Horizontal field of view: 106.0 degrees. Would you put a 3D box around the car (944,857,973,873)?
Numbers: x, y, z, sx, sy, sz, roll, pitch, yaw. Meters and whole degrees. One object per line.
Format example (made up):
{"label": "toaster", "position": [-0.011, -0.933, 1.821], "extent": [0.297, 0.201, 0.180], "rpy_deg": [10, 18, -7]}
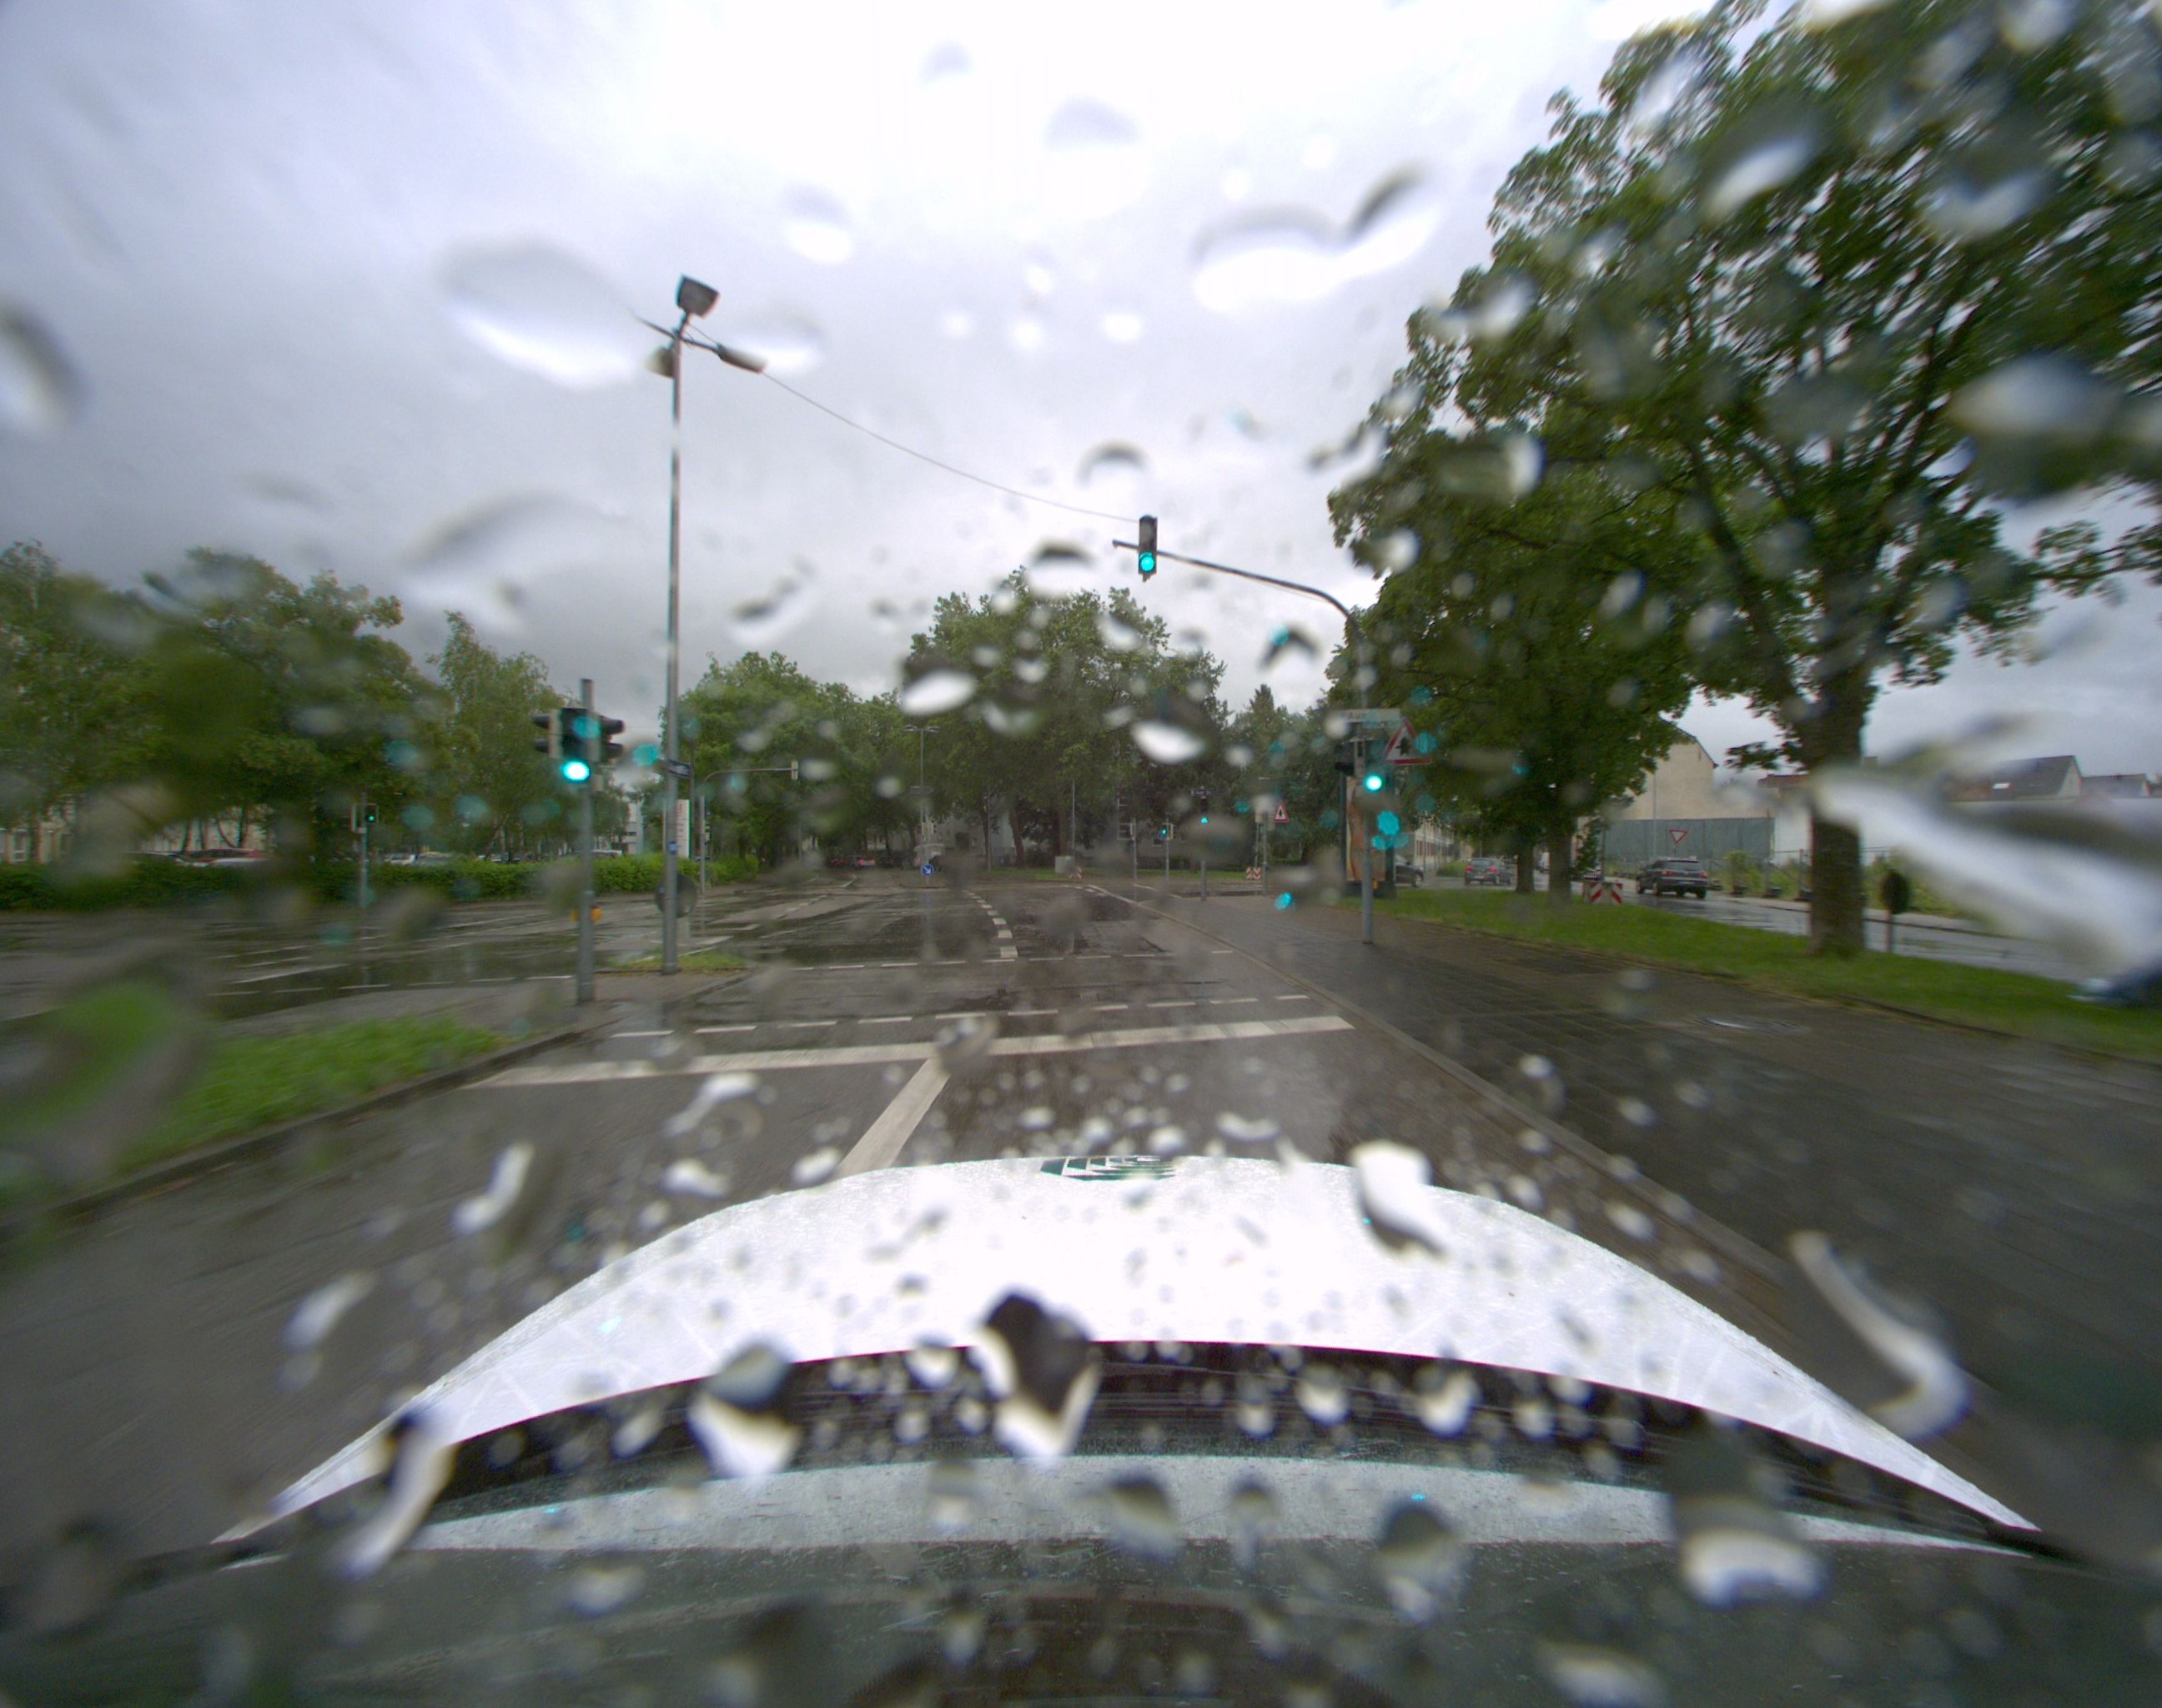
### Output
{"label": "car", "position": [-11.479, 0.991, 76.037], "extent": [1.556, 1.390, 4.115], "rpy_deg": [1, 0, -25]}

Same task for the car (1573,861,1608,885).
{"label": "car", "position": [34.989, 1.273, 55.949], "extent": [1.955, 1.549, 4.558], "rpy_deg": [0, 0, 31]}

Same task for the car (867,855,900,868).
{"label": "car", "position": [-25.610, 1.009, 105.829], "extent": [1.780, 1.601, 4.025], "rpy_deg": [0, 0, 33]}

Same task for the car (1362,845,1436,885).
{"label": "car", "position": [14.994, 0.511, 38.302], "extent": [1.974, 1.744, 4.331], "rpy_deg": [0, 0, 40]}

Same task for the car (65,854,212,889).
{"label": "car", "position": [-43.931, 0.770, 38.109], "extent": [4.011, 1.519, 1.981], "rpy_deg": [-1, 0, -30]}

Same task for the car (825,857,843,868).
{"label": "car", "position": [-34.517, 1.221, 113.567], "extent": [1.716, 1.411, 3.612], "rpy_deg": [-2, 1, -27]}

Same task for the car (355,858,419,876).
{"label": "car", "position": [-62.181, 1.142, 73.018], "extent": [4.011, 1.560, 1.981], "rpy_deg": [-1, 0, -29]}

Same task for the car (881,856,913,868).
{"label": "car", "position": [-23.564, 1.026, 104.192], "extent": [1.780, 1.601, 3.792], "rpy_deg": [0, 0, 33]}

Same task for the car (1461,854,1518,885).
{"label": "car", "position": [22.768, 0.841, 45.352], "extent": [1.974, 1.602, 4.114], "rpy_deg": [0, 0, 39]}

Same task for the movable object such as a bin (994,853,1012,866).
{"label": "movable object such as a bin", "position": [-9.095, 0.613, 94.972], "extent": [1.840, 1.432, 1.224], "rpy_deg": [0, -1, 45]}

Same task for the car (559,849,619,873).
{"label": "car", "position": [-38.853, 0.564, 64.366], "extent": [4.013, 1.833, 1.836], "rpy_deg": [1, 0, -31]}

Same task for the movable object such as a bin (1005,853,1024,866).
{"label": "movable object such as a bin", "position": [-7.643, 0.635, 93.692], "extent": [1.840, 1.432, 1.224], "rpy_deg": [0, -1, 45]}

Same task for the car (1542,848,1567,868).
{"label": "car", "position": [53.575, 0.492, 92.160], "extent": [2.328, 2.208, 4.640], "rpy_deg": [0, 0, 28]}

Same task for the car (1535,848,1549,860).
{"label": "car", "position": [79.791, 0.026, 140.988], "extent": [1.975, 2.014, 4.024], "rpy_deg": [0, 0, 28]}

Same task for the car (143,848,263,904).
{"label": "car", "position": [-28.806, 0.673, 26.866], "extent": [1.789, 1.686, 3.982], "rpy_deg": [-1, 0, -34]}

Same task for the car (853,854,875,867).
{"label": "car", "position": [-25.424, 0.774, 95.367], "extent": [1.716, 1.411, 3.612], "rpy_deg": [-2, 1, -27]}

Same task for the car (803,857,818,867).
{"label": "car", "position": [-42.682, 1.278, 128.432], "extent": [1.716, 1.411, 3.612], "rpy_deg": [-2, 1, -27]}

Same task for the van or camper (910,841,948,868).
{"label": "van or camper", "position": [-16.544, 0.123, 88.156], "extent": [2.330, 2.807, 6.806], "rpy_deg": [0, -1, -26]}

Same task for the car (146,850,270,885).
{"label": "car", "position": [-45.728, 0.679, 42.796], "extent": [4.011, 1.686, 1.981], "rpy_deg": [-1, 0, -30]}

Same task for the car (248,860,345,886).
{"label": "car", "position": [-49.938, 1.194, 51.939], "extent": [4.011, 1.559, 2.144], "rpy_deg": [-1, 0, -29]}

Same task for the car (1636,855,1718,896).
{"label": "car", "position": [25.594, 0.880, 35.104], "extent": [1.838, 1.654, 4.328], "rpy_deg": [0, 0, 22]}

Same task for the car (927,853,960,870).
{"label": "car", "position": [-13.642, 0.800, 80.867], "extent": [1.927, 1.620, 4.412], "rpy_deg": [1, -2, -28]}
